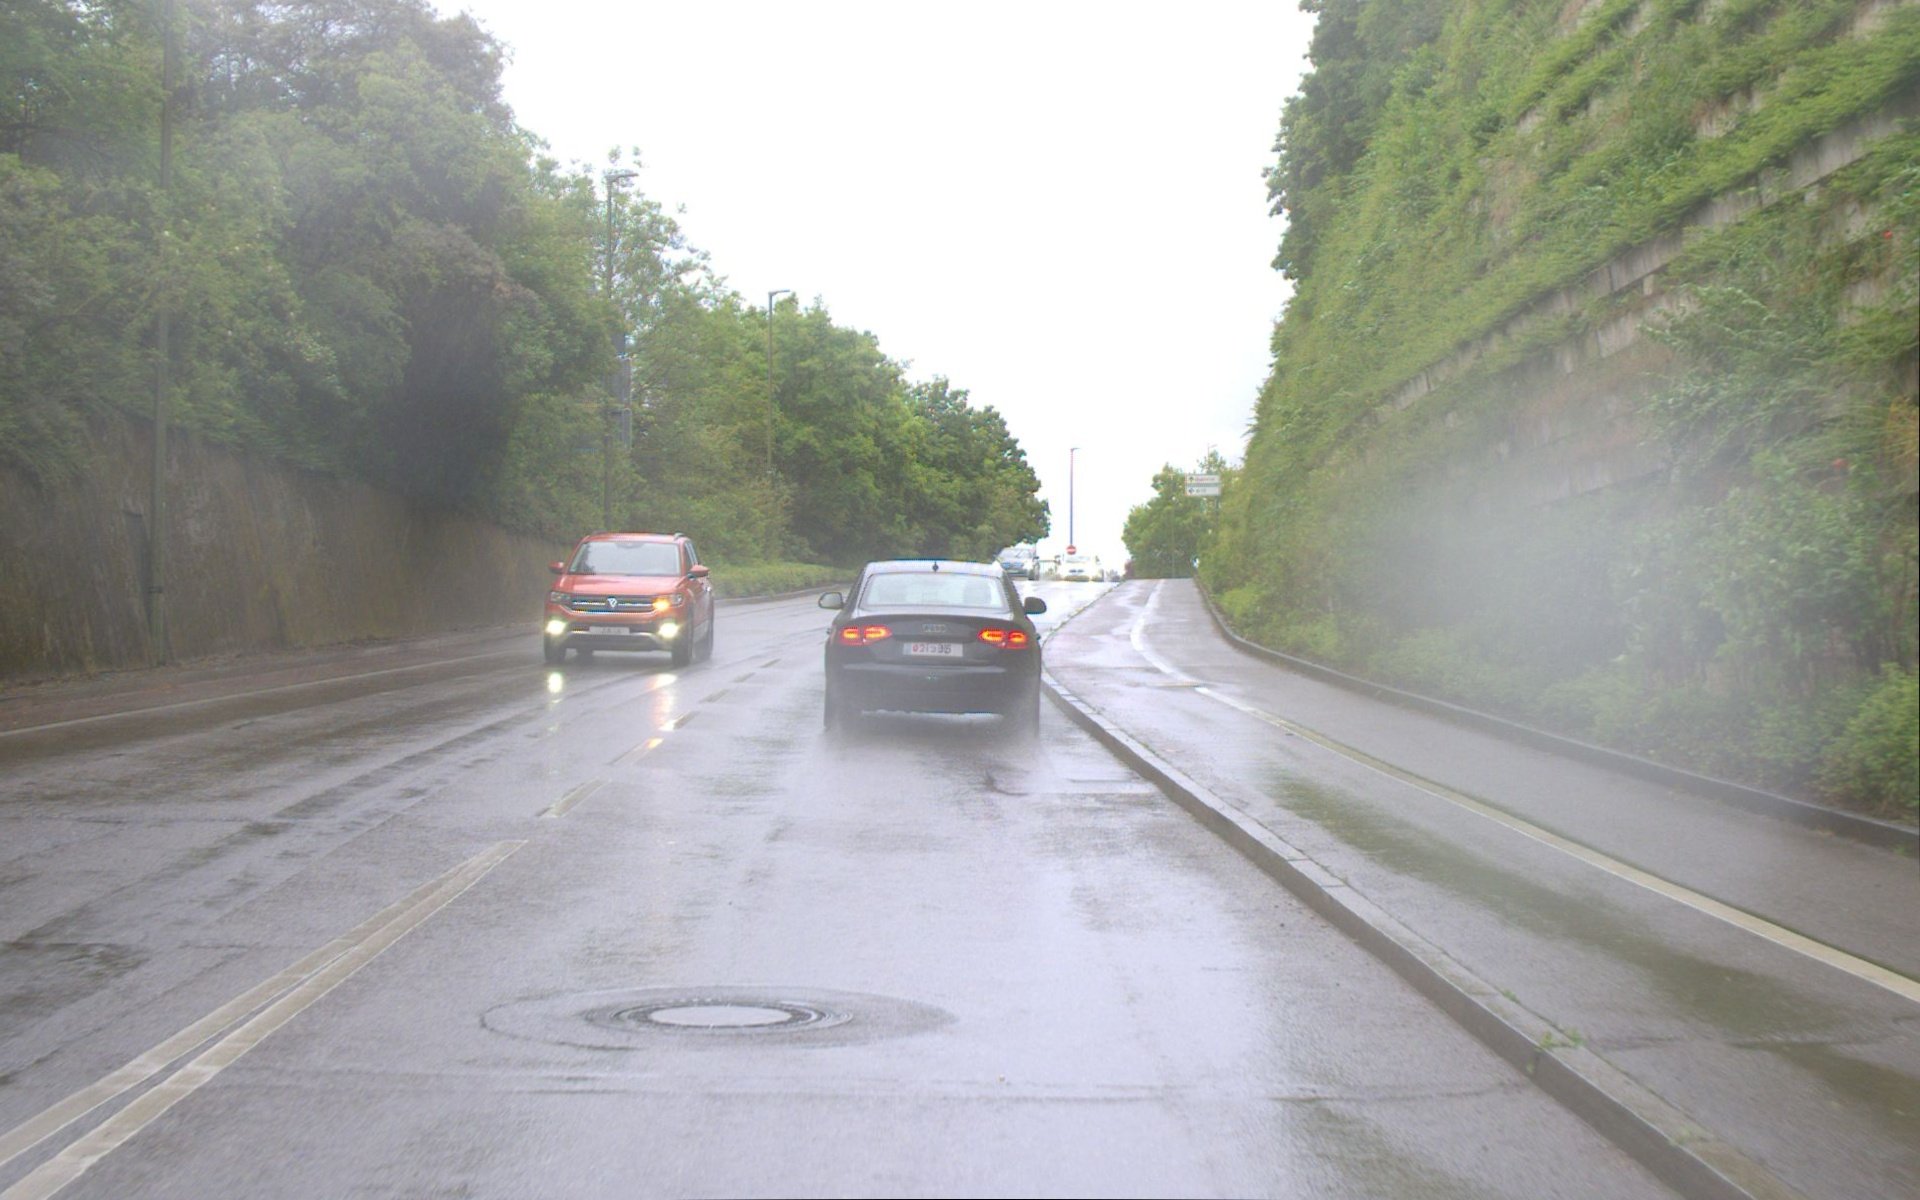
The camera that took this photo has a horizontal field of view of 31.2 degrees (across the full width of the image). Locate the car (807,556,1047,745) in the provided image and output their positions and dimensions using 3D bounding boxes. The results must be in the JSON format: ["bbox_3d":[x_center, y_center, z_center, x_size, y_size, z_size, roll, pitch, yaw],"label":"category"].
[{"bbox_3d":[-0.232,0.401,29.147,1.893,1.487,4.207,0,0,1],"label":"car"}]

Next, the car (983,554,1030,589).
[{"bbox_3d":[1.969,-1.182,143.628,1.865,1.444,4.377,0,0,2],"label":"car"}]

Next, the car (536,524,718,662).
[{"bbox_3d":[-4.060,-0.088,42.473,1.733,1.612,4.000,0,0,2],"label":"car"}]

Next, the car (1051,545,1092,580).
[{"bbox_3d":[5.659,-1.890,174.603,1.823,1.609,4.092,0,-1,5],"label":"car"}]
